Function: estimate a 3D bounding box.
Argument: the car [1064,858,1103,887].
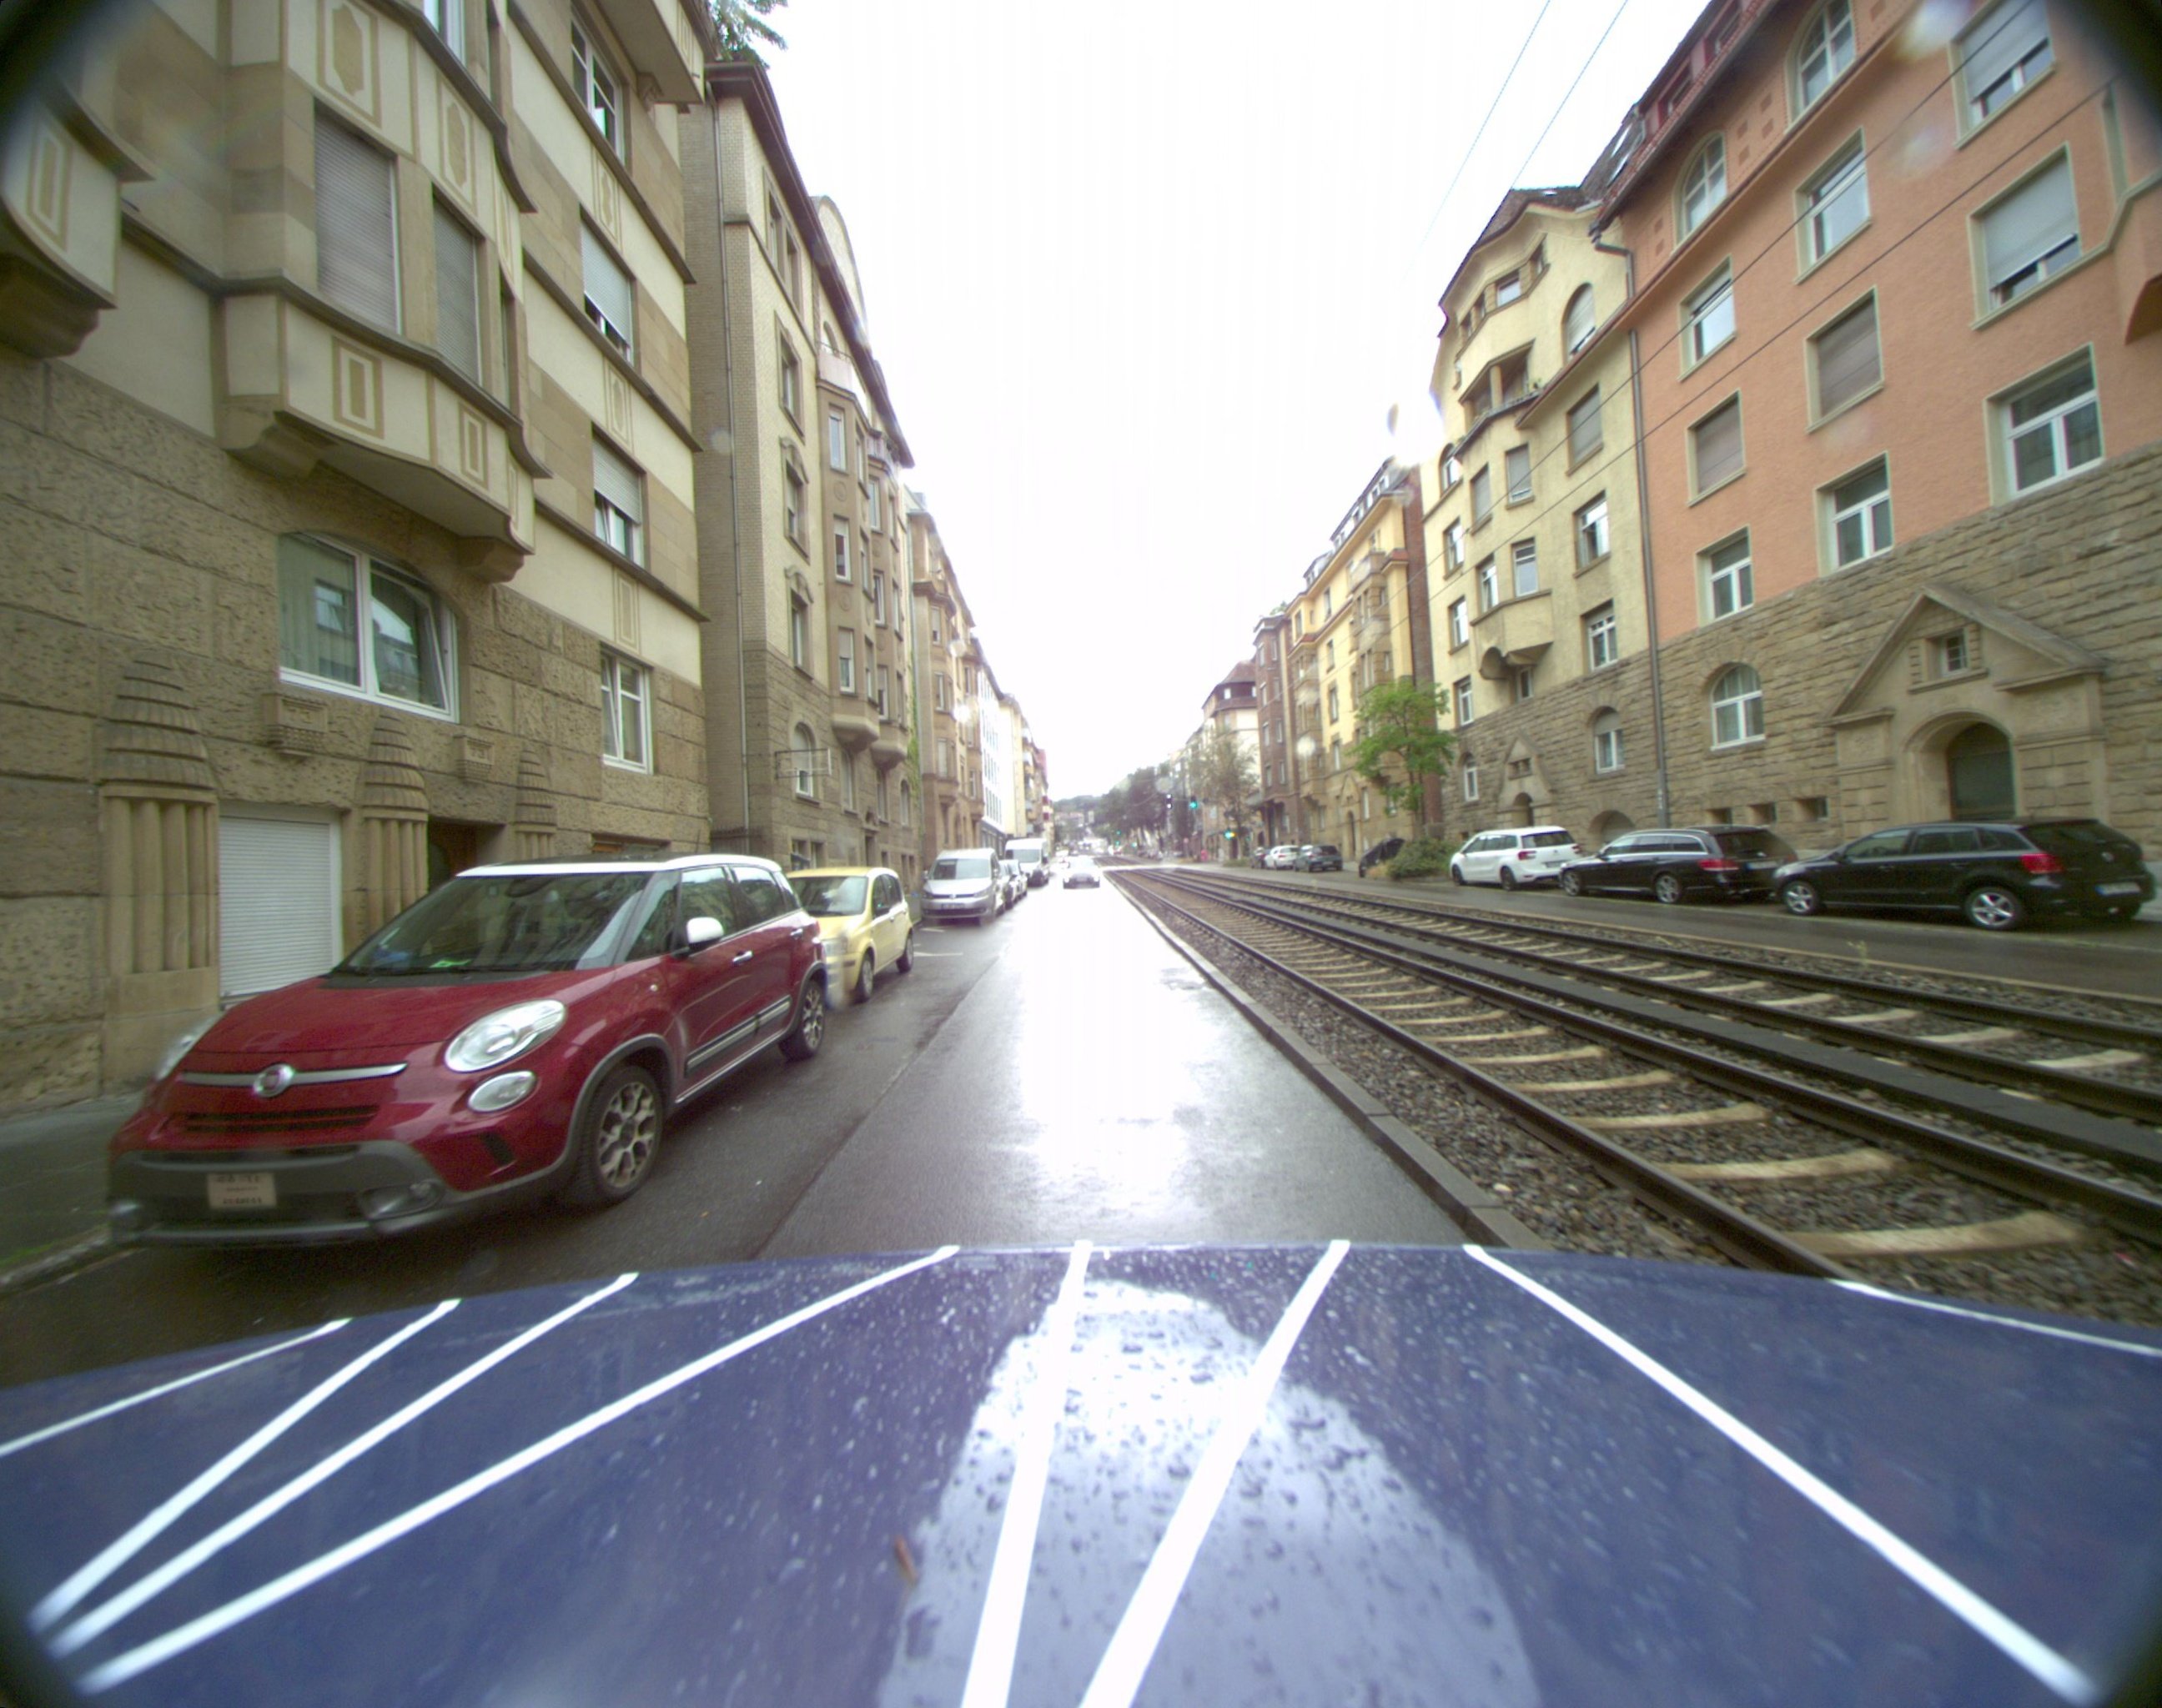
[{"bbox_3d":[0.136,0.863,36.574,1.737,1.262,4.258,0,0,1],"label":"car"}]

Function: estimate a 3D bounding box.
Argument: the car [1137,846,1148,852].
[{"bbox_3d":[12.757,-1.053,157.989,1.794,1.339,4.257,-2,1,0],"label":"car"}]

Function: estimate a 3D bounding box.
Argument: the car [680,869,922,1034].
[{"bbox_3d":[-3.188,1.017,9.421,1.632,1.502,3.531,-3,0,-1],"label":"car"}]

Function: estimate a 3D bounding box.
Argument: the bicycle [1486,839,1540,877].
[{"bbox_3d":[14.837,0.124,26.166,0.694,1.215,2.052,-2,1,1],"label":"bicycle"}]

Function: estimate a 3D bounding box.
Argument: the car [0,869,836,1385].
[{"bbox_3d":[-2.994,0.955,4.537,1.774,1.592,3.999,-1,0,-1],"label":"car"}]

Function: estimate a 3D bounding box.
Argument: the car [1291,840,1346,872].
[{"bbox_3d":[12.487,0.072,40.137,1.717,1.473,3.712,-5,1,2],"label":"car"}]

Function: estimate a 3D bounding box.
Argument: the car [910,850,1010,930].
[{"bbox_3d":[-2.950,0.819,19.390,1.811,1.758,3.962,-2,0,1],"label":"car"}]

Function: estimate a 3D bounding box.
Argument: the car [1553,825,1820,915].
[{"bbox_3d":[12.205,0.259,15.816,1.760,1.482,4.597,-4,1,-1],"label":"car"}]

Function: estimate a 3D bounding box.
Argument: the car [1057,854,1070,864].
[{"bbox_3d":[-2.777,0.777,122.019,1.794,1.459,4.257,-2,1,1],"label":"car"}]

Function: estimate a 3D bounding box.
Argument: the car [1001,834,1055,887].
[{"bbox_3d":[-2.717,0.290,40.370,1.991,2.520,6.155,-3,0,3],"label":"car"}]

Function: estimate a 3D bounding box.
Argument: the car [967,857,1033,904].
[{"bbox_3d":[-2.995,0.942,28.984,1.935,1.516,4.058,-3,0,1],"label":"car"}]

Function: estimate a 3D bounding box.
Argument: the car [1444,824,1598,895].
[{"bbox_3d":[12.227,0.116,21.479,1.759,1.663,4.259,-5,1,0],"label":"car"}]

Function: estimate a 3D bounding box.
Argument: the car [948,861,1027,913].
[{"bbox_3d":[-2.918,0.998,24.565,1.931,1.380,3.982,-3,0,1],"label":"car"}]

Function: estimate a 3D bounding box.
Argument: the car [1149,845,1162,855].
[{"bbox_3d":[12.486,-0.654,127.552,1.794,1.609,4.257,-2,1,0],"label":"car"}]

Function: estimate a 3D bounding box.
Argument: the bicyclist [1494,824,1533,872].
[{"bbox_3d":[14.840,-0.203,26.084,0.894,1.592,0.774,-2,1,1],"label":"bicyclist"}]

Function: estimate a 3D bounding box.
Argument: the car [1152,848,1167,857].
[{"bbox_3d":[11.994,-0.262,116.165,1.794,1.339,4.257,-2,1,0],"label":"car"}]

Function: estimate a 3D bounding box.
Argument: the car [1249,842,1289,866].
[{"bbox_3d":[12.552,-0.042,50.974,1.759,1.419,3.712,-5,1,2],"label":"car"}]

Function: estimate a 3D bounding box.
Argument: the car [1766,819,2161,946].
[{"bbox_3d":[12.448,0.311,10.910,1.760,1.396,3.694,-4,1,-2],"label":"car"}]

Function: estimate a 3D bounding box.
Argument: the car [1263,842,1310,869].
[{"bbox_3d":[12.428,0.067,46.199,1.759,1.443,4.043,-5,1,2],"label":"car"}]
